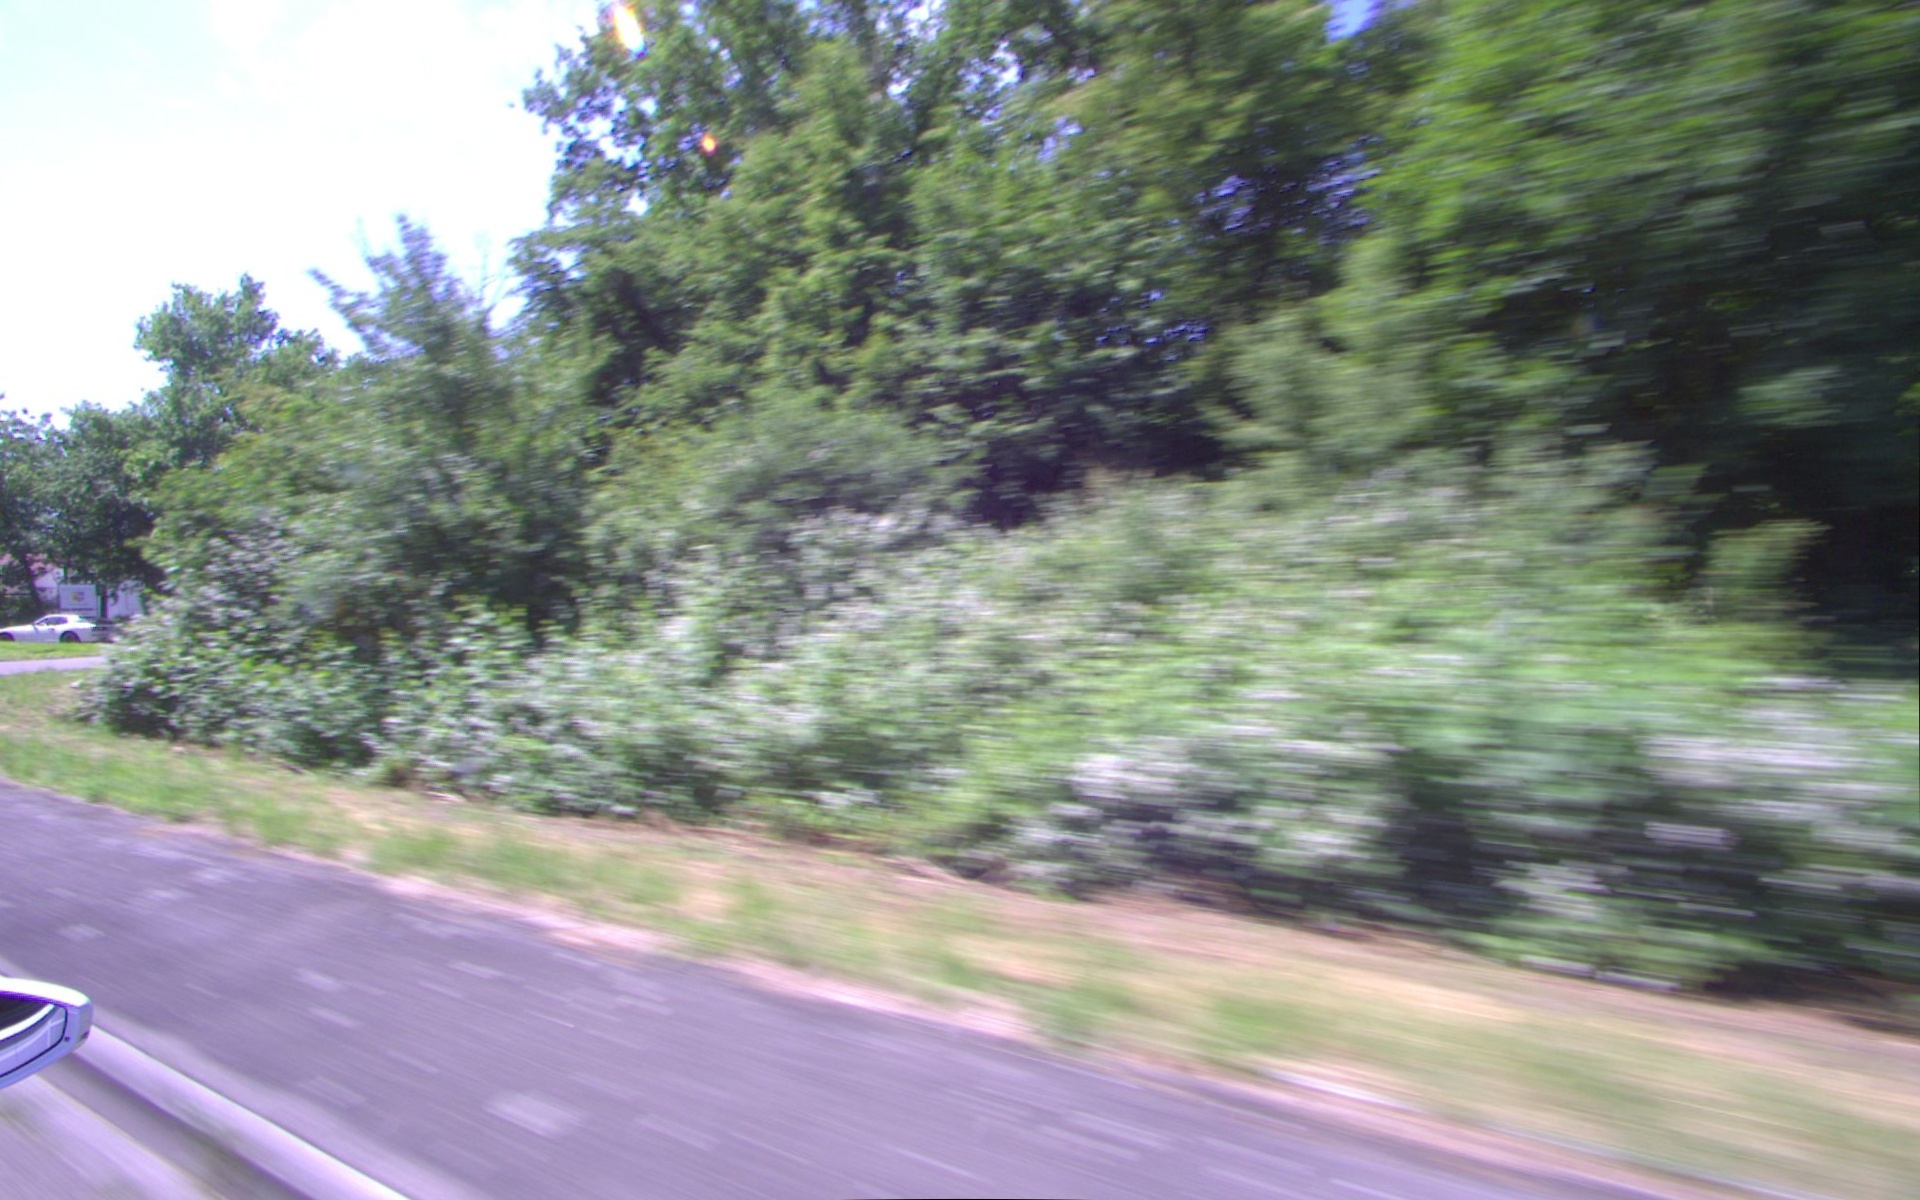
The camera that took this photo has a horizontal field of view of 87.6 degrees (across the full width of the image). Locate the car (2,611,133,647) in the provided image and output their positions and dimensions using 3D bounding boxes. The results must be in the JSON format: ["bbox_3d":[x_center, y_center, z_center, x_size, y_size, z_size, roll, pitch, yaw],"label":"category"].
[{"bbox_3d":[-33.986,1.099,38.186,3.487,1.305,1.619,-1,0,-1],"label":"car"}]
